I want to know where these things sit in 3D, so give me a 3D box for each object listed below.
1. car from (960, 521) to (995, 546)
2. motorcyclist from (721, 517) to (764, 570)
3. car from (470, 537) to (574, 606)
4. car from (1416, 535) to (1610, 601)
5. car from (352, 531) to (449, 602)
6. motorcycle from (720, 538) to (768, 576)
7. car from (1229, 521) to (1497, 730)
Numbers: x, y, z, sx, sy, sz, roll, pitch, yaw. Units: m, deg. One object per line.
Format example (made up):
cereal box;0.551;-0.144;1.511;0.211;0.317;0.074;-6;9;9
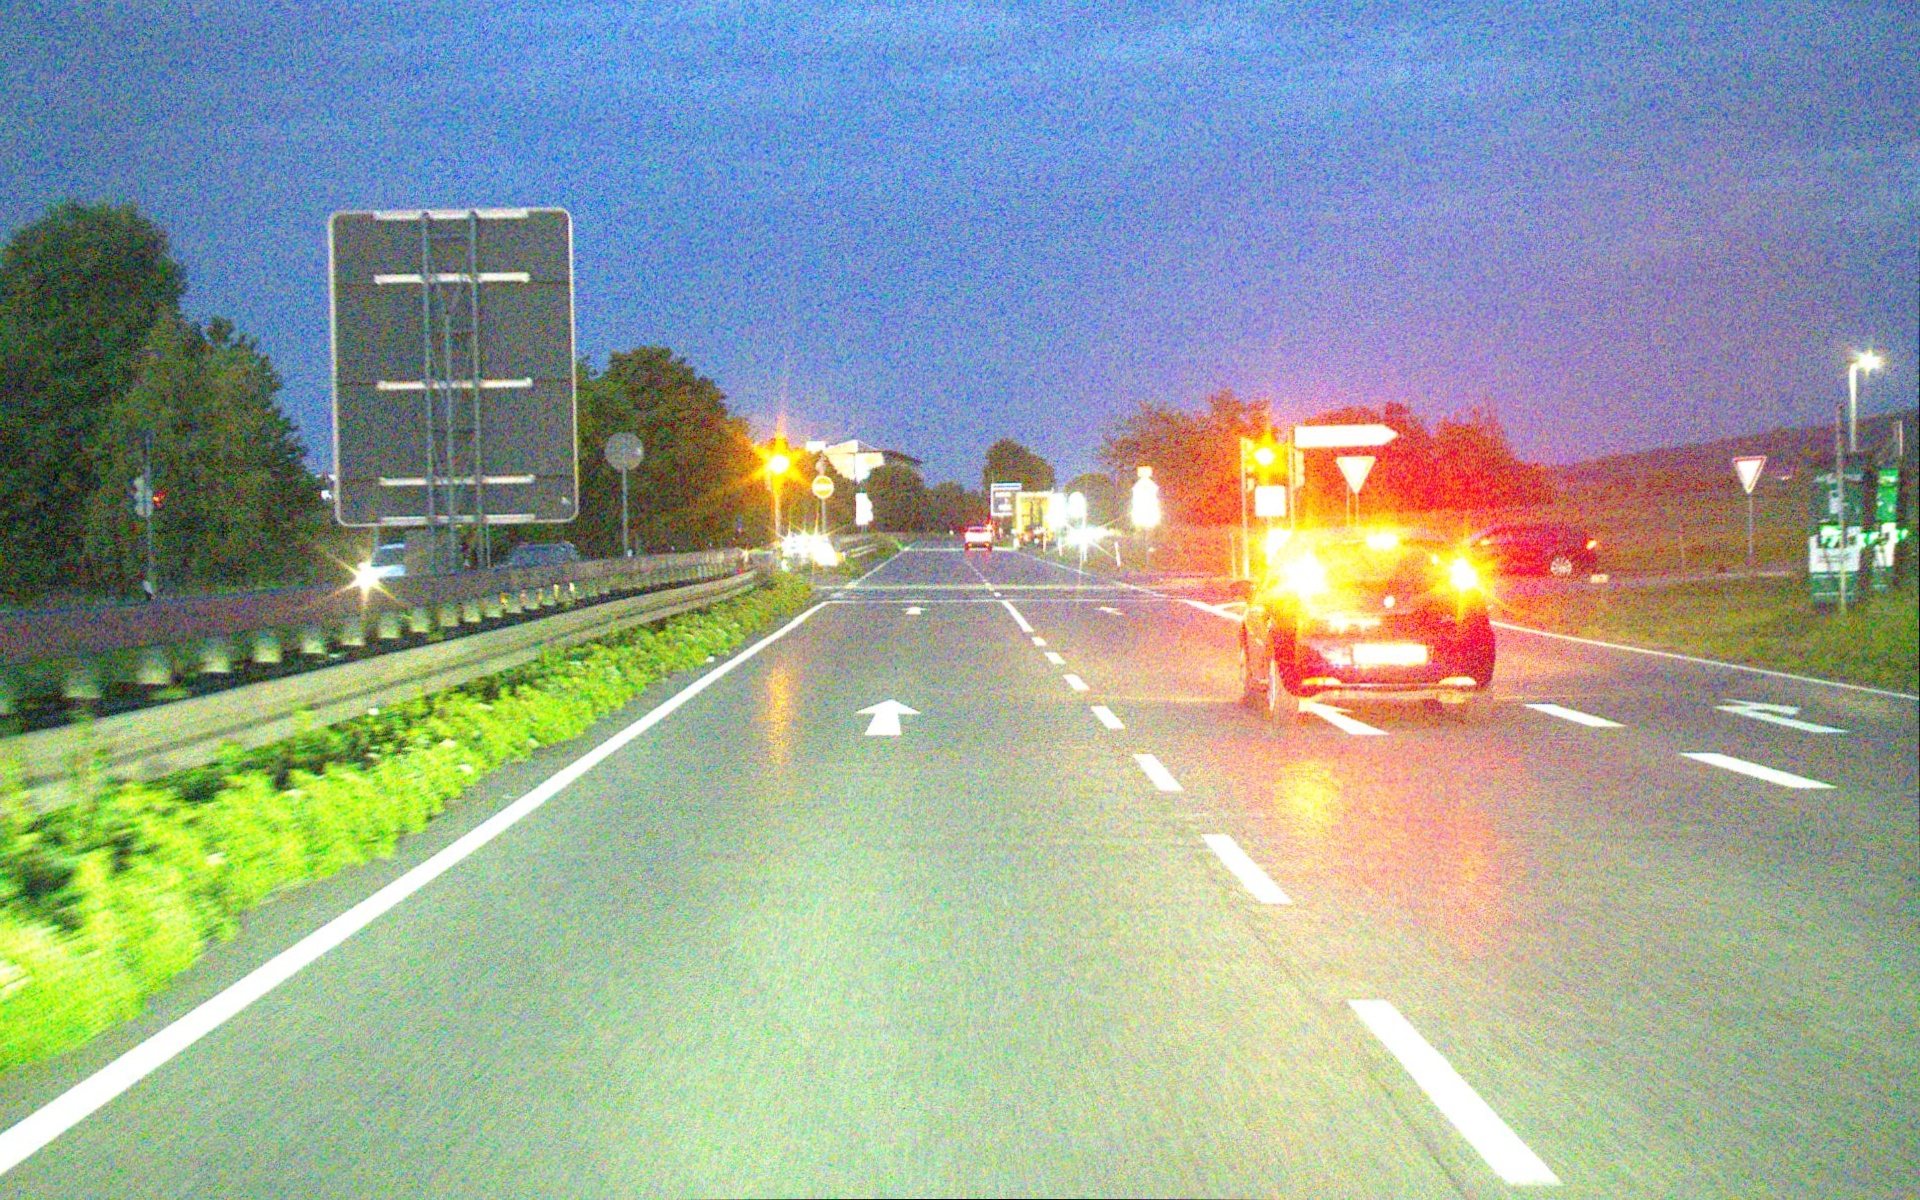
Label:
car;1.173;-4.521;233.934;2.273;1.626;4.000;-1;1;-1
motorcyclist;-6.576;-1.712;104.005;1.137;1.579;0.972;-1;1;6
car;-9.850;-0.663;77.578;1.920;1.427;4.502;-2;1;-2
car;14.087;-0.825;87.773;4.601;1.515;2.000;-2;1;0
car;-13.601;-0.837;83.741;1.794;1.665;4.502;0;1;-2
motorcycle;-6.533;-1.303;104.213;0.979;1.095;2.508;-1;1;7
car;3.087;0.144;27.015;1.670;1.515;4.106;0;1;1
